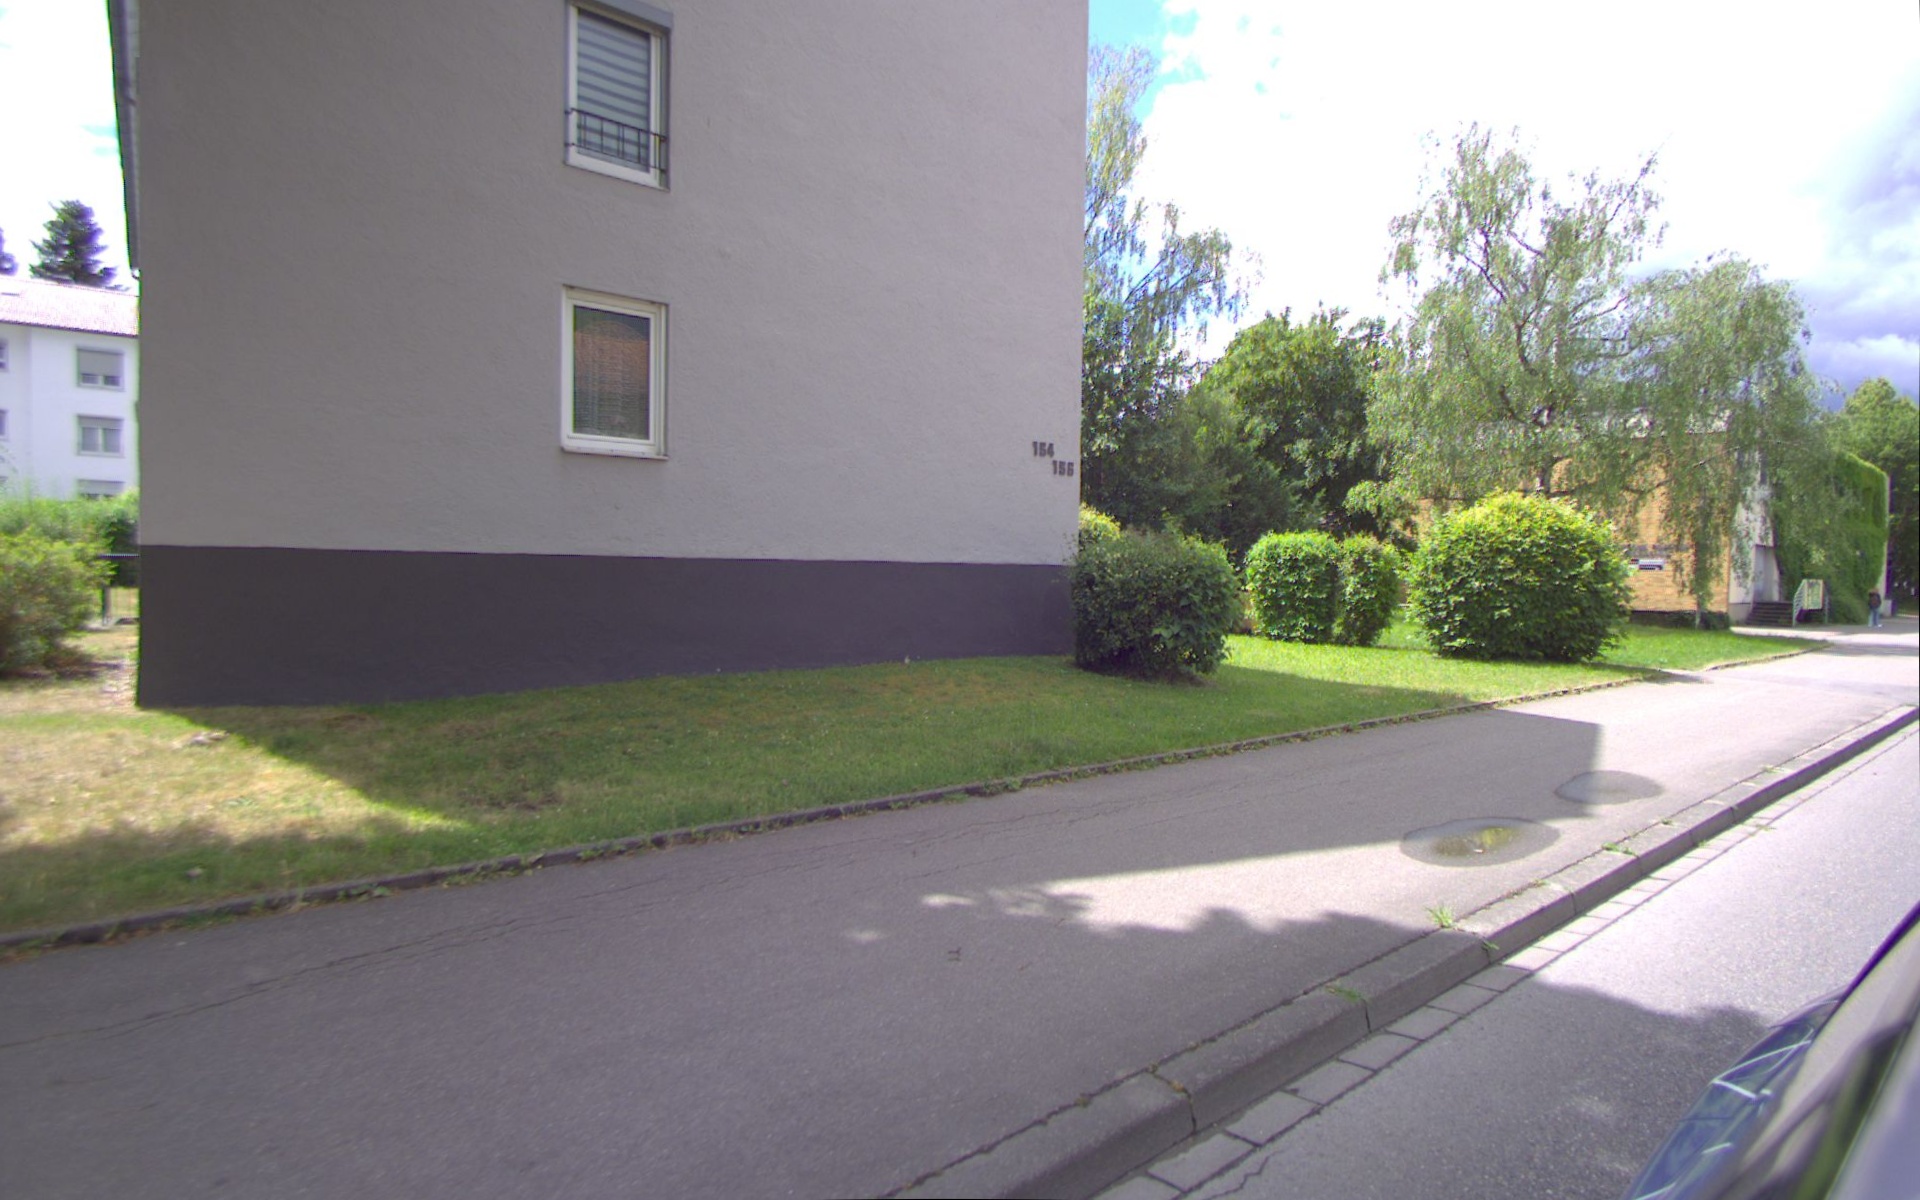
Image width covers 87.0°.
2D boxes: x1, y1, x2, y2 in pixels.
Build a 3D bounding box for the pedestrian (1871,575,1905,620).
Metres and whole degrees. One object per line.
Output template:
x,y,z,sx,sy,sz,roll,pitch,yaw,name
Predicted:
38.527,-0.112,42.015,0.801,1.792,0.812,0,4,-35,pedestrian
